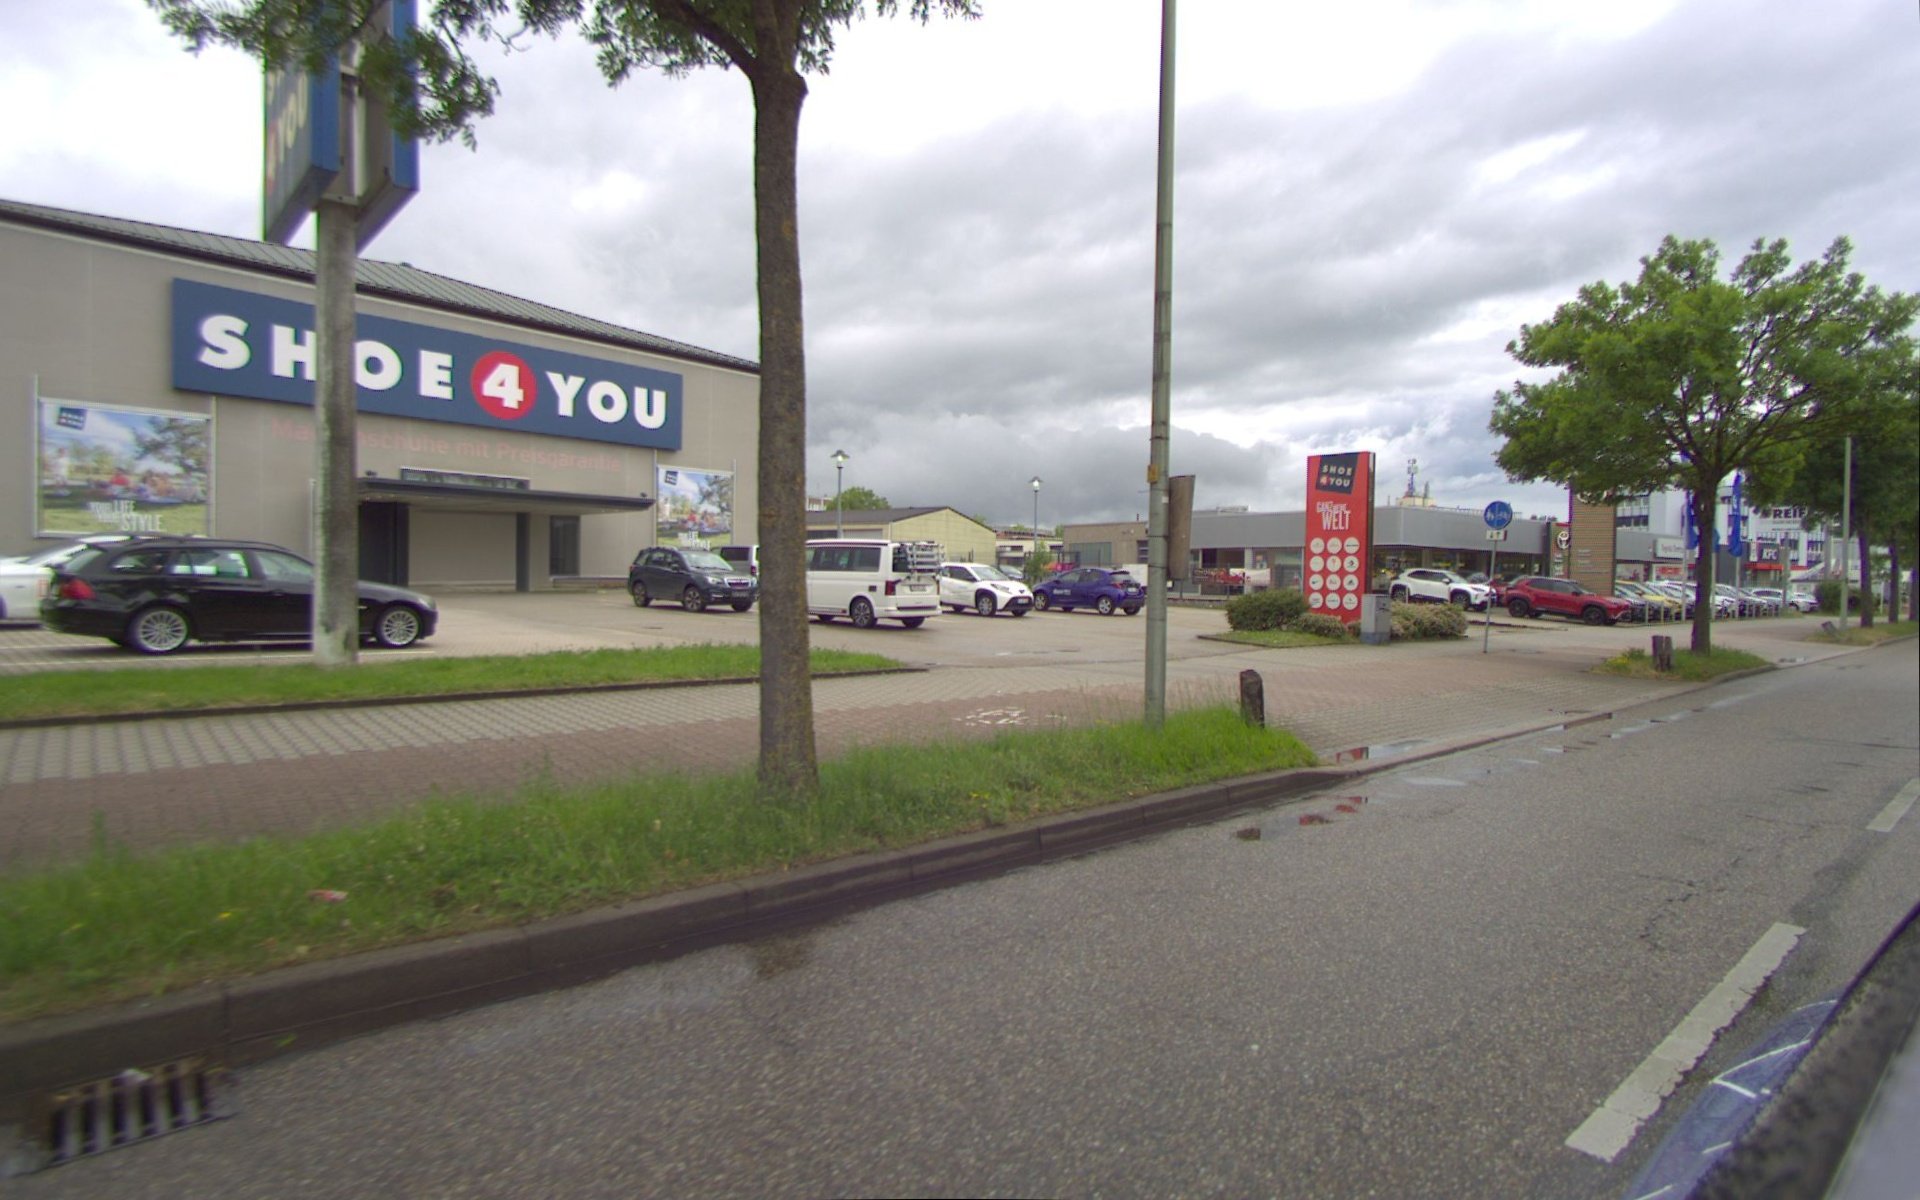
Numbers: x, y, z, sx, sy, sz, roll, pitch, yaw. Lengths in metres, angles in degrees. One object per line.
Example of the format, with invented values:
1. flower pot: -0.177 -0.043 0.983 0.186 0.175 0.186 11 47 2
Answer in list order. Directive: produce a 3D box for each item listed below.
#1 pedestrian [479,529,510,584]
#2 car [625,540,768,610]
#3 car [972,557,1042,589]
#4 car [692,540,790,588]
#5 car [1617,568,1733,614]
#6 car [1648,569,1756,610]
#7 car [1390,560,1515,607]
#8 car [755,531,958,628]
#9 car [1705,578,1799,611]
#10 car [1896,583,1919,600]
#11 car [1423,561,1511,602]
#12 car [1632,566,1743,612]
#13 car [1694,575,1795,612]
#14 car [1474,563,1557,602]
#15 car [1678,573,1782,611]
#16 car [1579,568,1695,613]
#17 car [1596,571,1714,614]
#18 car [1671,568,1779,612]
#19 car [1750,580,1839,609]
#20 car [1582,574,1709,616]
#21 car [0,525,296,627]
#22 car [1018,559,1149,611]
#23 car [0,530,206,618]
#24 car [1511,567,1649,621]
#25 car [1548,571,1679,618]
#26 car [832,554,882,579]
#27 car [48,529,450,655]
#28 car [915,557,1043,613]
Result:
1. pedestrian: -16.488 -1.533 35.857 0.913 1.908 0.772 1 2 -31
2. car: -7.286 -0.717 27.739 4.242 1.751 1.716 3 2 42
3. car: 2.554 -1.489 55.177 1.756 1.664 3.658 1 1 -41
4. car: -9.184 -1.516 42.269 4.243 1.883 1.906 3 2 42
5. car: 33.593 -0.456 47.635 1.778 1.807 4.001 0 4 -37
6. car: 37.750 -0.546 51.553 1.780 1.605 4.000 1 7 -41
7. car: 19.922 -0.703 41.121 1.845 1.641 4.125 1 4 -35
8. car: -2.506 -0.553 23.722 4.818 2.038 1.961 3 3 41
9. car: 45.057 -0.341 57.643 1.795 1.478 3.845 0 6 -40
10. car: 117.910 -0.999 123.560 1.958 2.038 4.799 1 2 -22
11. car: 22.166 -0.789 44.197 4.048 1.641 1.880 0 4 -39
12. car: 35.939 -0.563 50.084 1.778 1.807 4.003 1 6 -37
13. car: 43.397 -0.369 56.037 1.778 1.561 4.003 0 6 -37
14. car: 25.618 -0.809 46.629 4.048 1.641 1.880 0 4 -39
15. car: 41.491 -0.436 54.608 1.778 1.603 4.003 0 6 -37
16. car: 29.721 -0.438 44.502 1.638 1.584 3.848 0 6 -42
17. car: 31.642 -0.358 46.152 1.679 1.565 4.002 0 5 -37
18. car: 39.714 -0.562 52.620 1.778 1.807 4.003 0 7 -37
19. car: 55.533 -0.397 67.434 1.943 1.616 4.079 1 3 -19
20. car: 28.476 -0.234 42.111 1.768 1.557 3.997 0 3 -39
21. car: -13.857 -0.383 16.370 1.878 1.486 4.880 3 2 40
22. car: 3.971 -0.507 33.039 3.987 1.533 1.732 3 2 43
23. car: -15.988 -0.480 18.297 1.578 1.459 3.536 3 2 40
24. car: 22.620 -0.244 37.010 1.763 1.622 3.853 0 5 -39
25. car: 26.260 -0.266 40.776 1.810 1.667 4.002 0 3 -35
26. car: -8.940 -2.918 87.964 4.062 2.038 1.774 3 2 29
27. car: -9.433 -0.122 13.729 1.576 1.446 4.204 3 2 40
28. car: 0.538 -0.480 30.327 3.637 1.533 1.651 3 2 42
